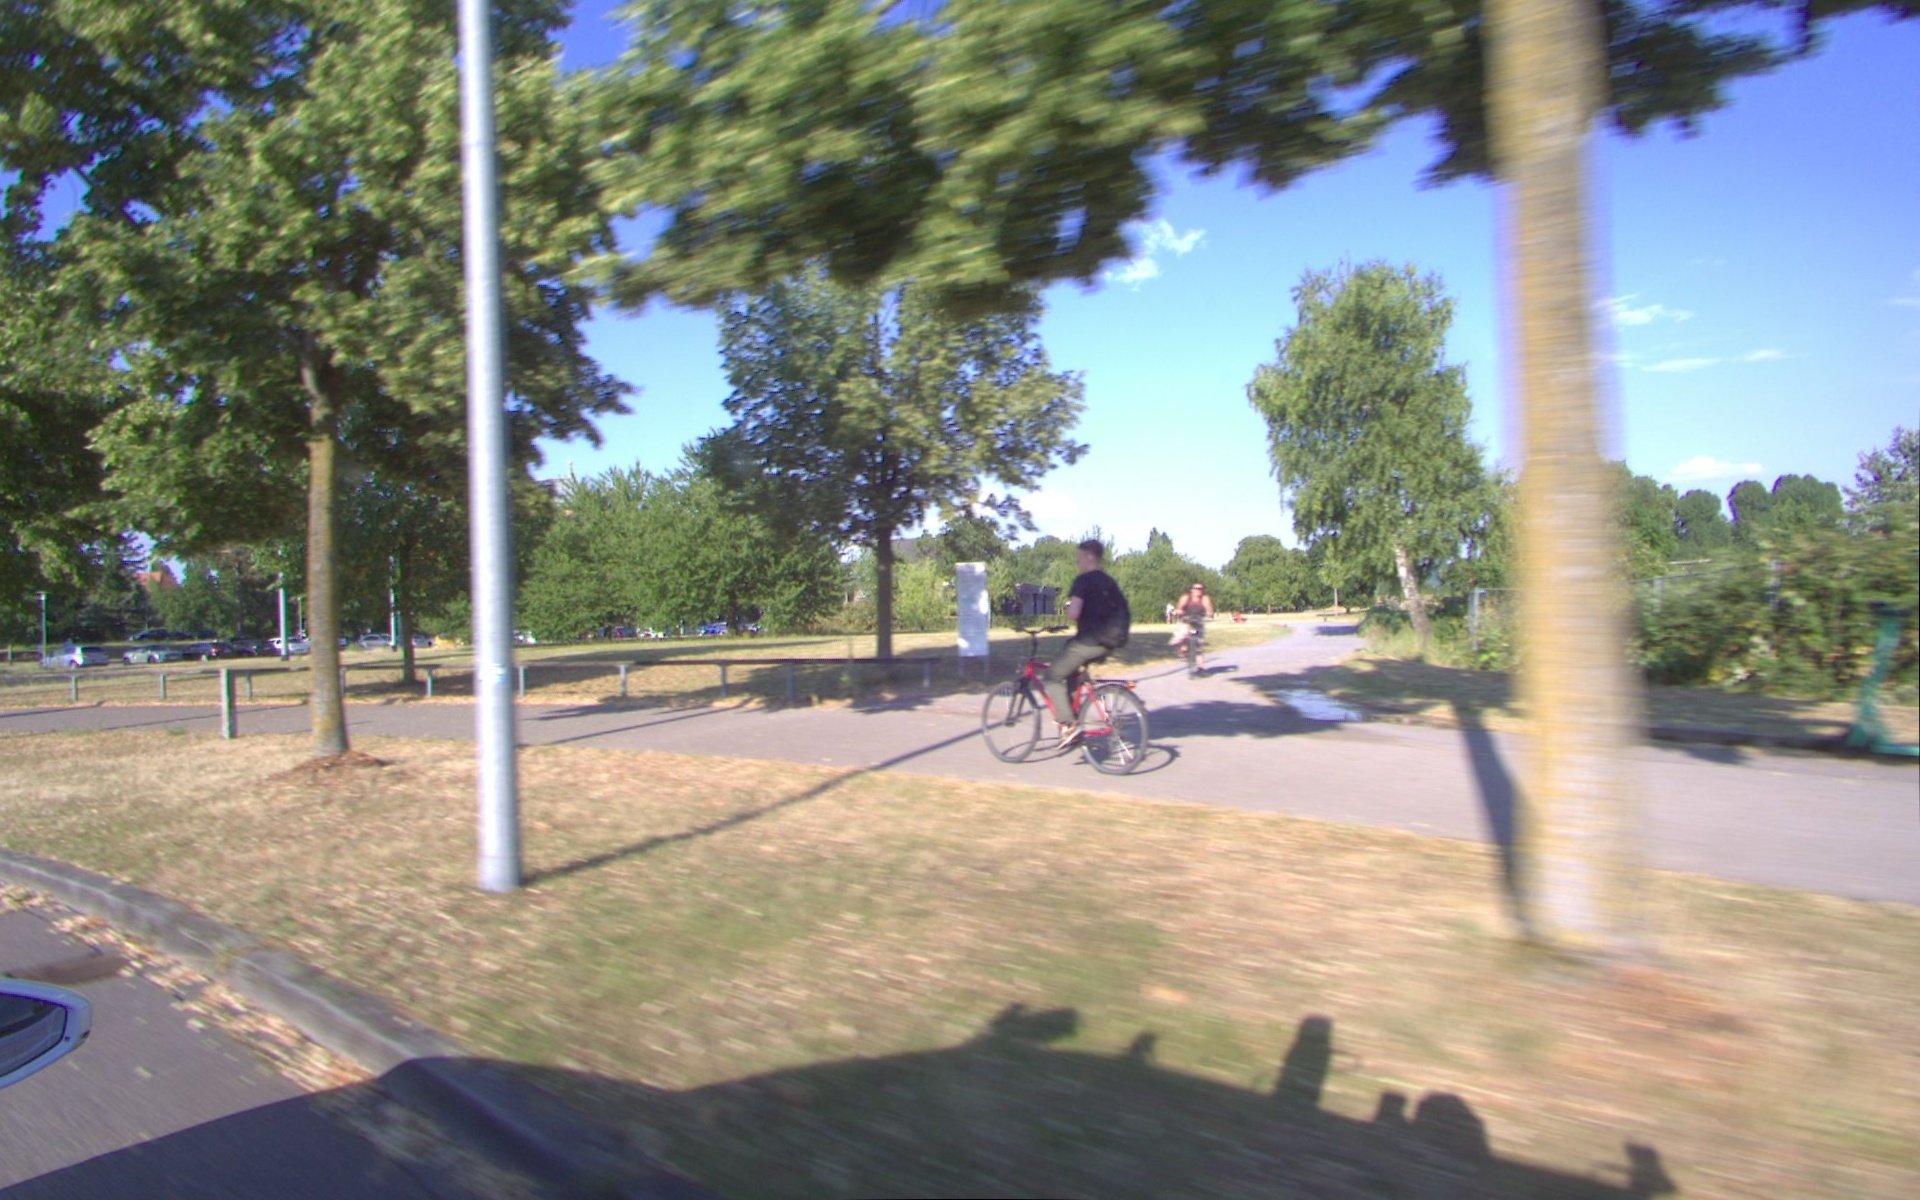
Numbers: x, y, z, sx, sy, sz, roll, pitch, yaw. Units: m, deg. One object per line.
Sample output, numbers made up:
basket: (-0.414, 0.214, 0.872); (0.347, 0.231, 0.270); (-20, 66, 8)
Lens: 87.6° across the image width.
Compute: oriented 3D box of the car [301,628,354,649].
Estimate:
car: (-56.360, 3.465, 89.195); (3.928, 1.694, 1.825); (-2, 0, 17)

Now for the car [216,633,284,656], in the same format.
car: (-49.952, 3.112, 70.443); (3.928, 1.421, 1.825); (-2, -1, 17)

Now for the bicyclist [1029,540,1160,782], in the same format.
bicyclist: (1.089, 0.463, 8.138); (0.821, 1.855, 0.615); (0, 2, 45)

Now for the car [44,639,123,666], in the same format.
car: (-53.241, 3.175, 60.835); (3.928, 1.421, 1.825); (-2, -1, 17)

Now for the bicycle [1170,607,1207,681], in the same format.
bicycle: (3.957, 0.738, 17.426); (0.482, 1.172, 1.828); (-1, 1, 9)

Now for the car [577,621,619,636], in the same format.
car: (-38.976, 3.054, 107.860); (3.928, 1.421, 1.825); (-2, -1, 17)

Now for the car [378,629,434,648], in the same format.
car: (-46.315, 3.242, 83.754); (3.928, 1.421, 1.825); (-2, -1, 17)

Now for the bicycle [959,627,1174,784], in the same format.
bicycle: (0.837, 0.820, 8.345); (1.870, 1.174, 0.412); (-1, 1, 42)

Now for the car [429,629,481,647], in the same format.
car: (-44.972, 3.377, 89.156); (3.928, 1.421, 1.825); (-2, -1, 17)

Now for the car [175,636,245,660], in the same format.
car: (-50.772, 3.238, 67.801); (3.928, 1.421, 1.825); (-2, -1, 17)

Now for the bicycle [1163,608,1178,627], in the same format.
bicycle: (17.319, 1.464, 82.475); (0.385, 1.468, 1.942); (-2, -2, -15)

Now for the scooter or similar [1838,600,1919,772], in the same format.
scooter or similar: (6.891, 0.607, 6.943); (0.337, 1.176, 1.164); (-5, 4, -31)

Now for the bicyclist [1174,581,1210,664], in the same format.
bicyclist: (4.038, 0.386, 17.442); (0.548, 1.381, 0.979); (-2, 0, 12)

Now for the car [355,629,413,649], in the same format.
car: (-46.677, 3.132, 81.173); (3.928, 1.421, 1.825); (-2, -1, 17)

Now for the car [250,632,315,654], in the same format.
car: (-49.441, 3.142, 73.059); (3.928, 1.421, 1.825); (-2, -1, 17)

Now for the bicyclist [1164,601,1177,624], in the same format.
bicyclist: (17.329, 1.040, 82.512); (0.626, 1.802, 0.928); (-2, -2, -14)

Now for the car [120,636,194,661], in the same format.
car: (-52.257, 3.138, 65.171); (3.928, 1.421, 1.825); (-2, -1, 17)
